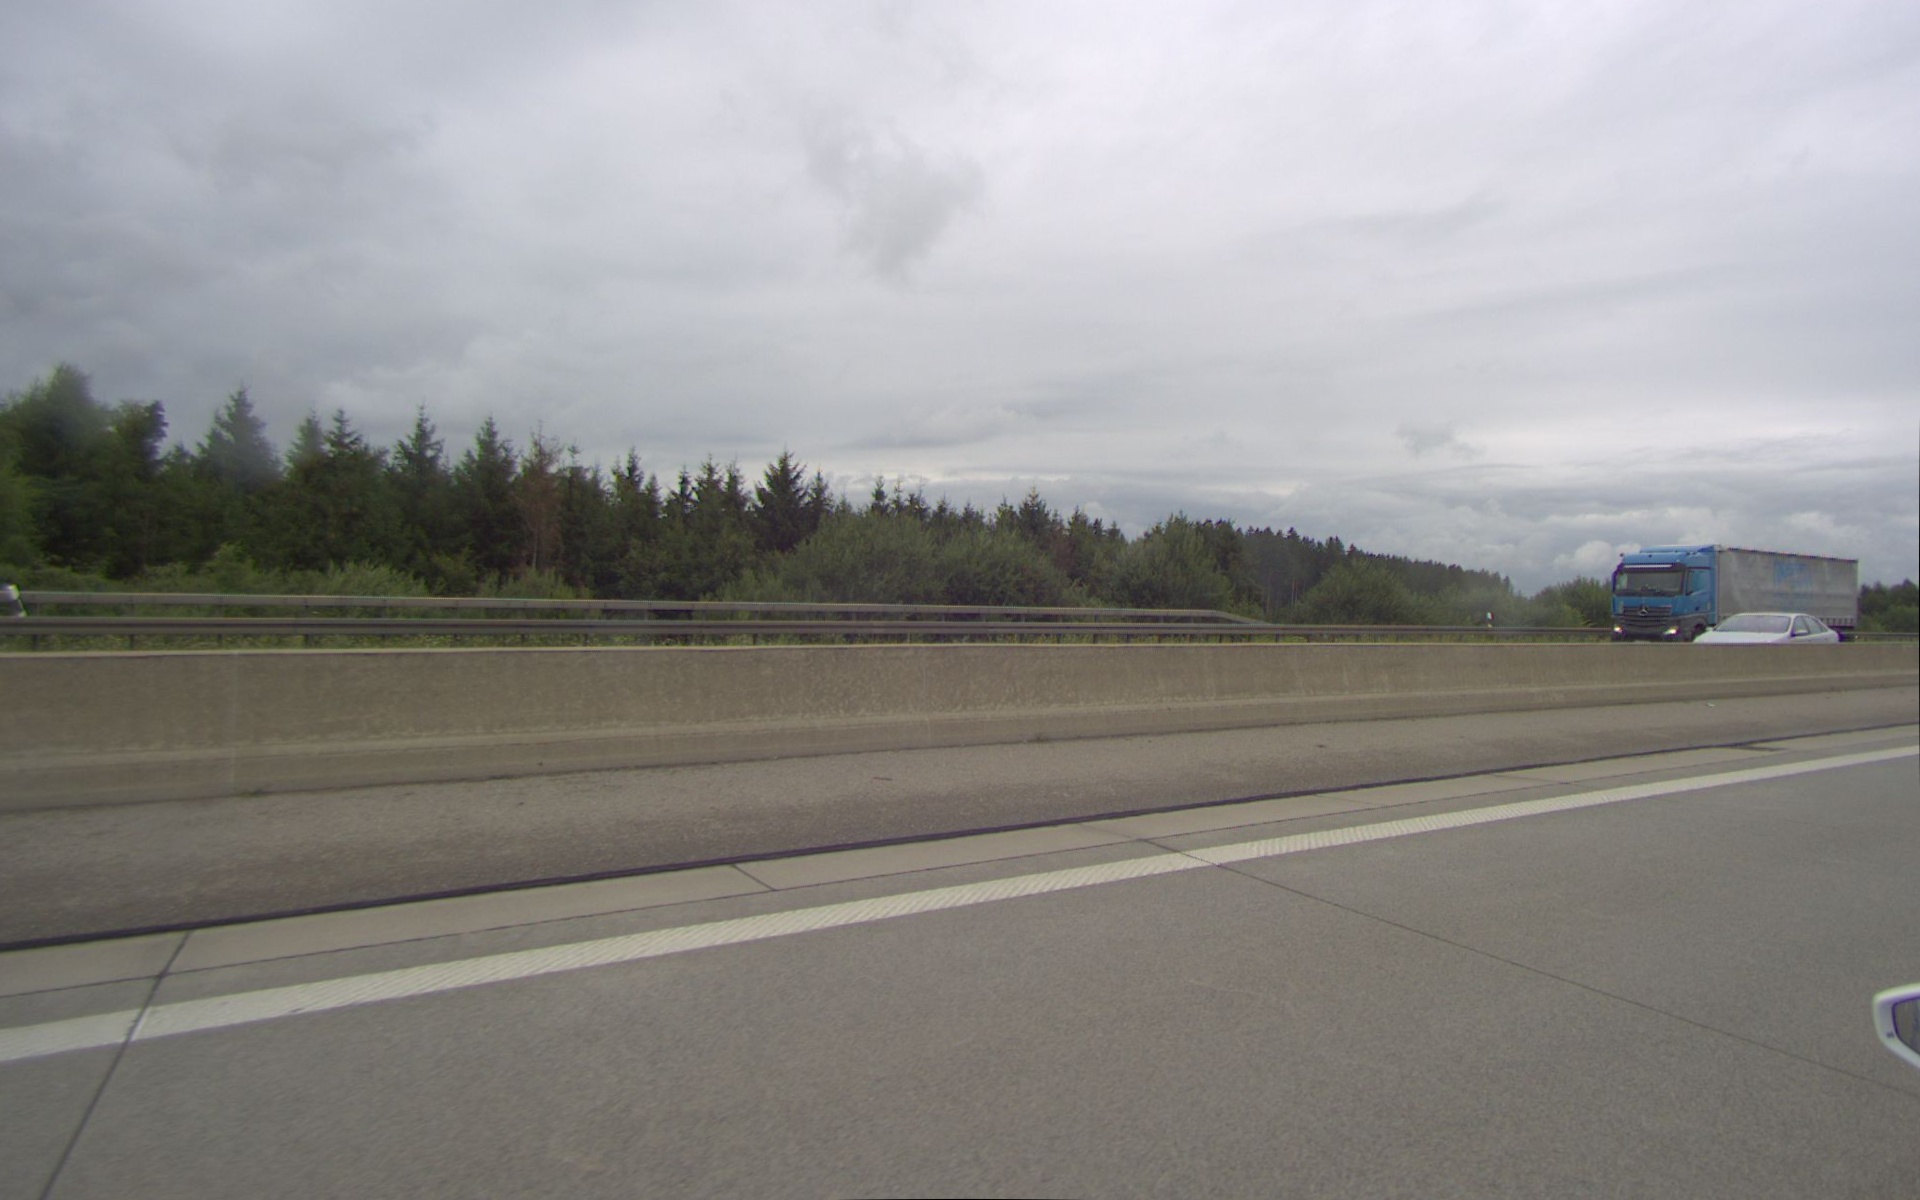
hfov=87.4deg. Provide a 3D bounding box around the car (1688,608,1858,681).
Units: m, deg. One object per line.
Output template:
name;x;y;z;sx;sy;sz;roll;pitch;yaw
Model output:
car;20.039;1.060;24.703;4.664;1.636;1.690;1;0;-30

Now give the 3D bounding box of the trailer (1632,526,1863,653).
trailer;33.002;-0.290;41.761;13.479;4.687;2.901;1;0;-31

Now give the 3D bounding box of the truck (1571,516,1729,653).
truck;25.619;-0.500;37.285;5.173;4.739;2.912;1;0;-31

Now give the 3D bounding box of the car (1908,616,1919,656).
car;42.361;1.562;42.927;4.245;1.673;1.606;1;0;-31
